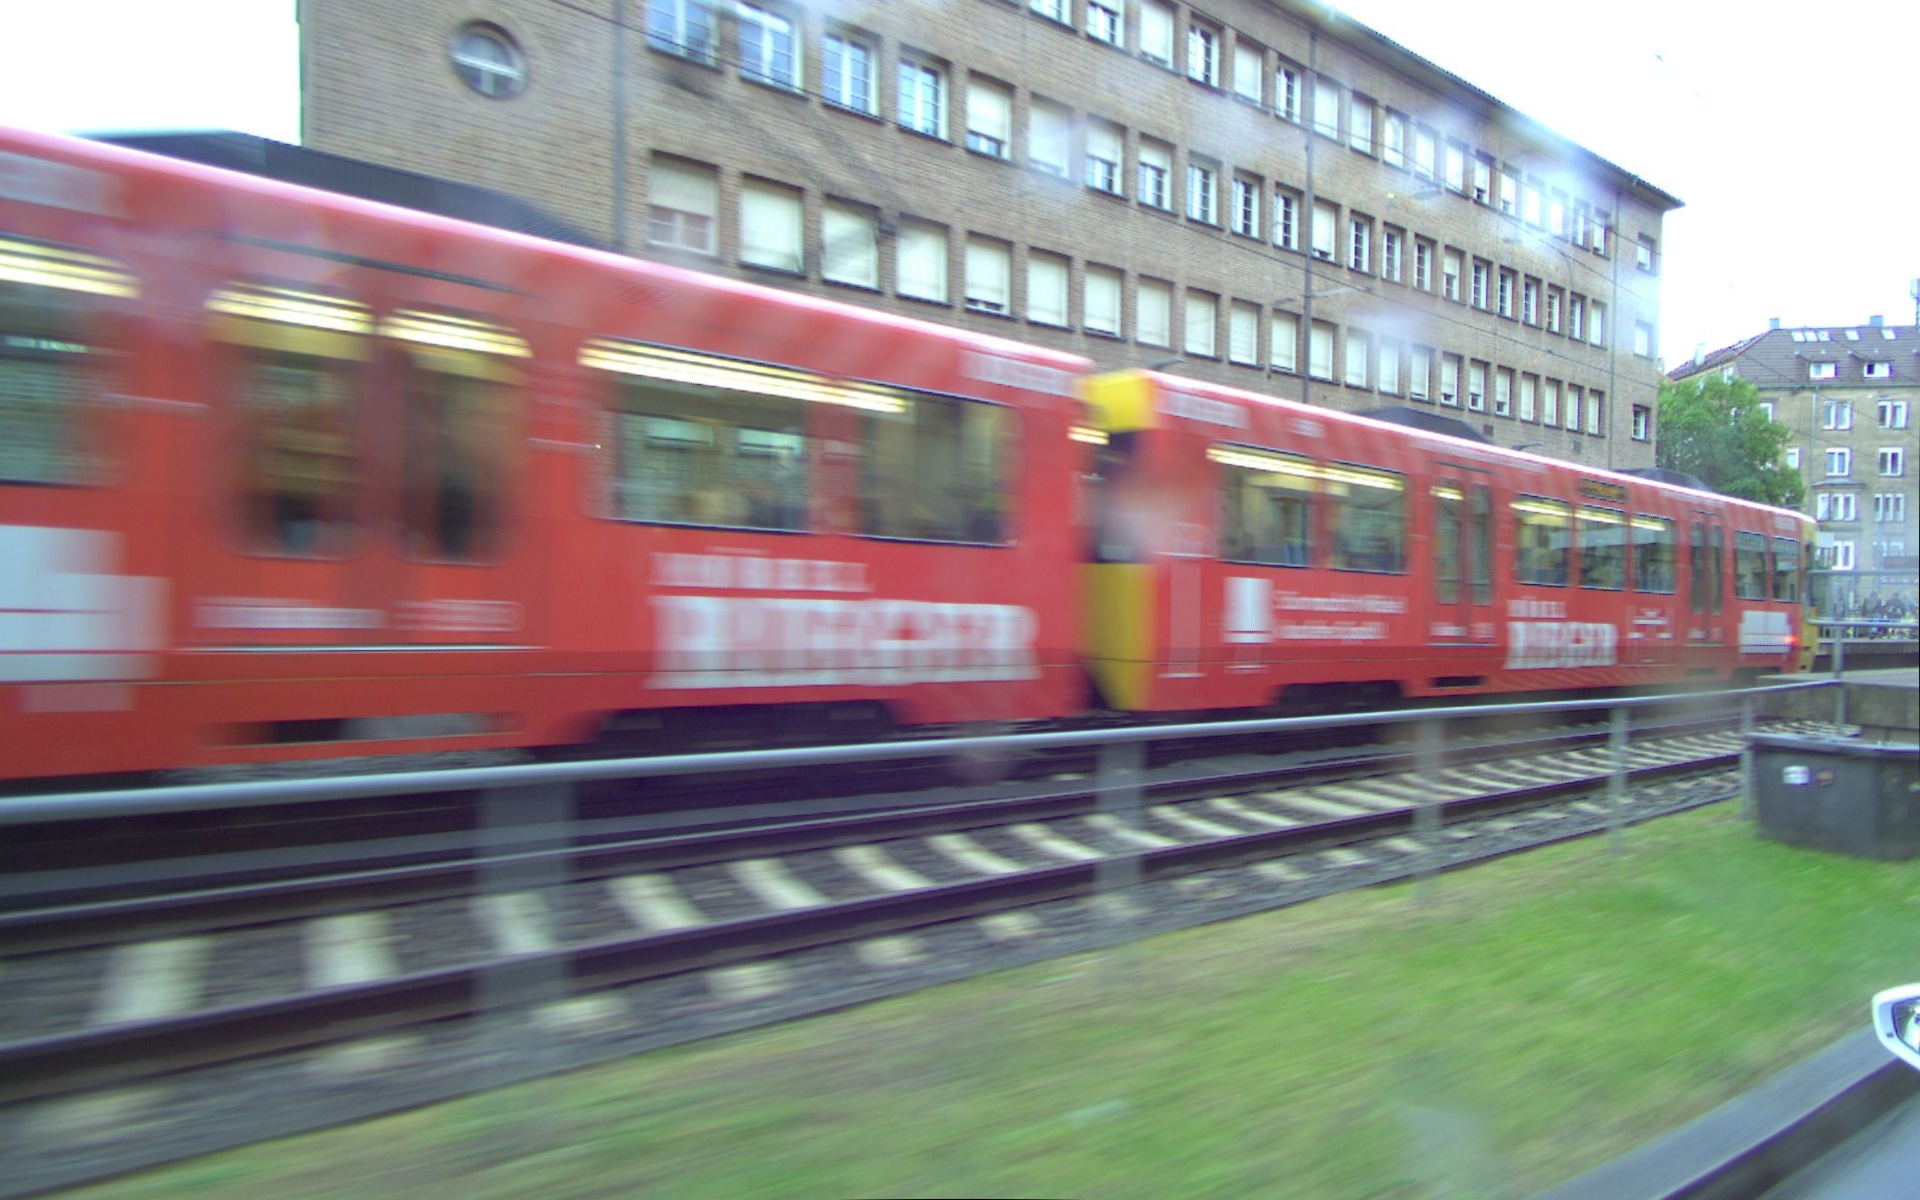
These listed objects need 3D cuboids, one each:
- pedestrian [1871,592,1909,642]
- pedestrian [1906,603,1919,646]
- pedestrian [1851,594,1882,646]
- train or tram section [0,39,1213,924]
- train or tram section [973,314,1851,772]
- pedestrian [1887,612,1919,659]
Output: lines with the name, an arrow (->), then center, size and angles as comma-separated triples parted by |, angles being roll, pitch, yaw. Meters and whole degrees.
pedestrian -> 32.734, 0.595, 35.362 | 0.873, 1.719, 0.739 | 1, 2, -34
pedestrian -> 36.238, 0.920, 37.834 | 0.946, 1.604, 0.688 | 2, 0, -34
pedestrian -> 30.650, 0.670, 33.953 | 0.682, 1.721, 0.659 | 3, -2, -38
train or tram section -> -6.293, -0.576, 4.767 | 19.106, 3.973, 2.697 | 2, 0, -35
train or tram section -> 8.972, -0.244, 15.509 | 19.664, 3.973, 2.697 | 2, 0, -35
pedestrian -> 34.358, 1.300, 36.594 | 0.634, 1.668, 0.739 | 2, -2, -34
